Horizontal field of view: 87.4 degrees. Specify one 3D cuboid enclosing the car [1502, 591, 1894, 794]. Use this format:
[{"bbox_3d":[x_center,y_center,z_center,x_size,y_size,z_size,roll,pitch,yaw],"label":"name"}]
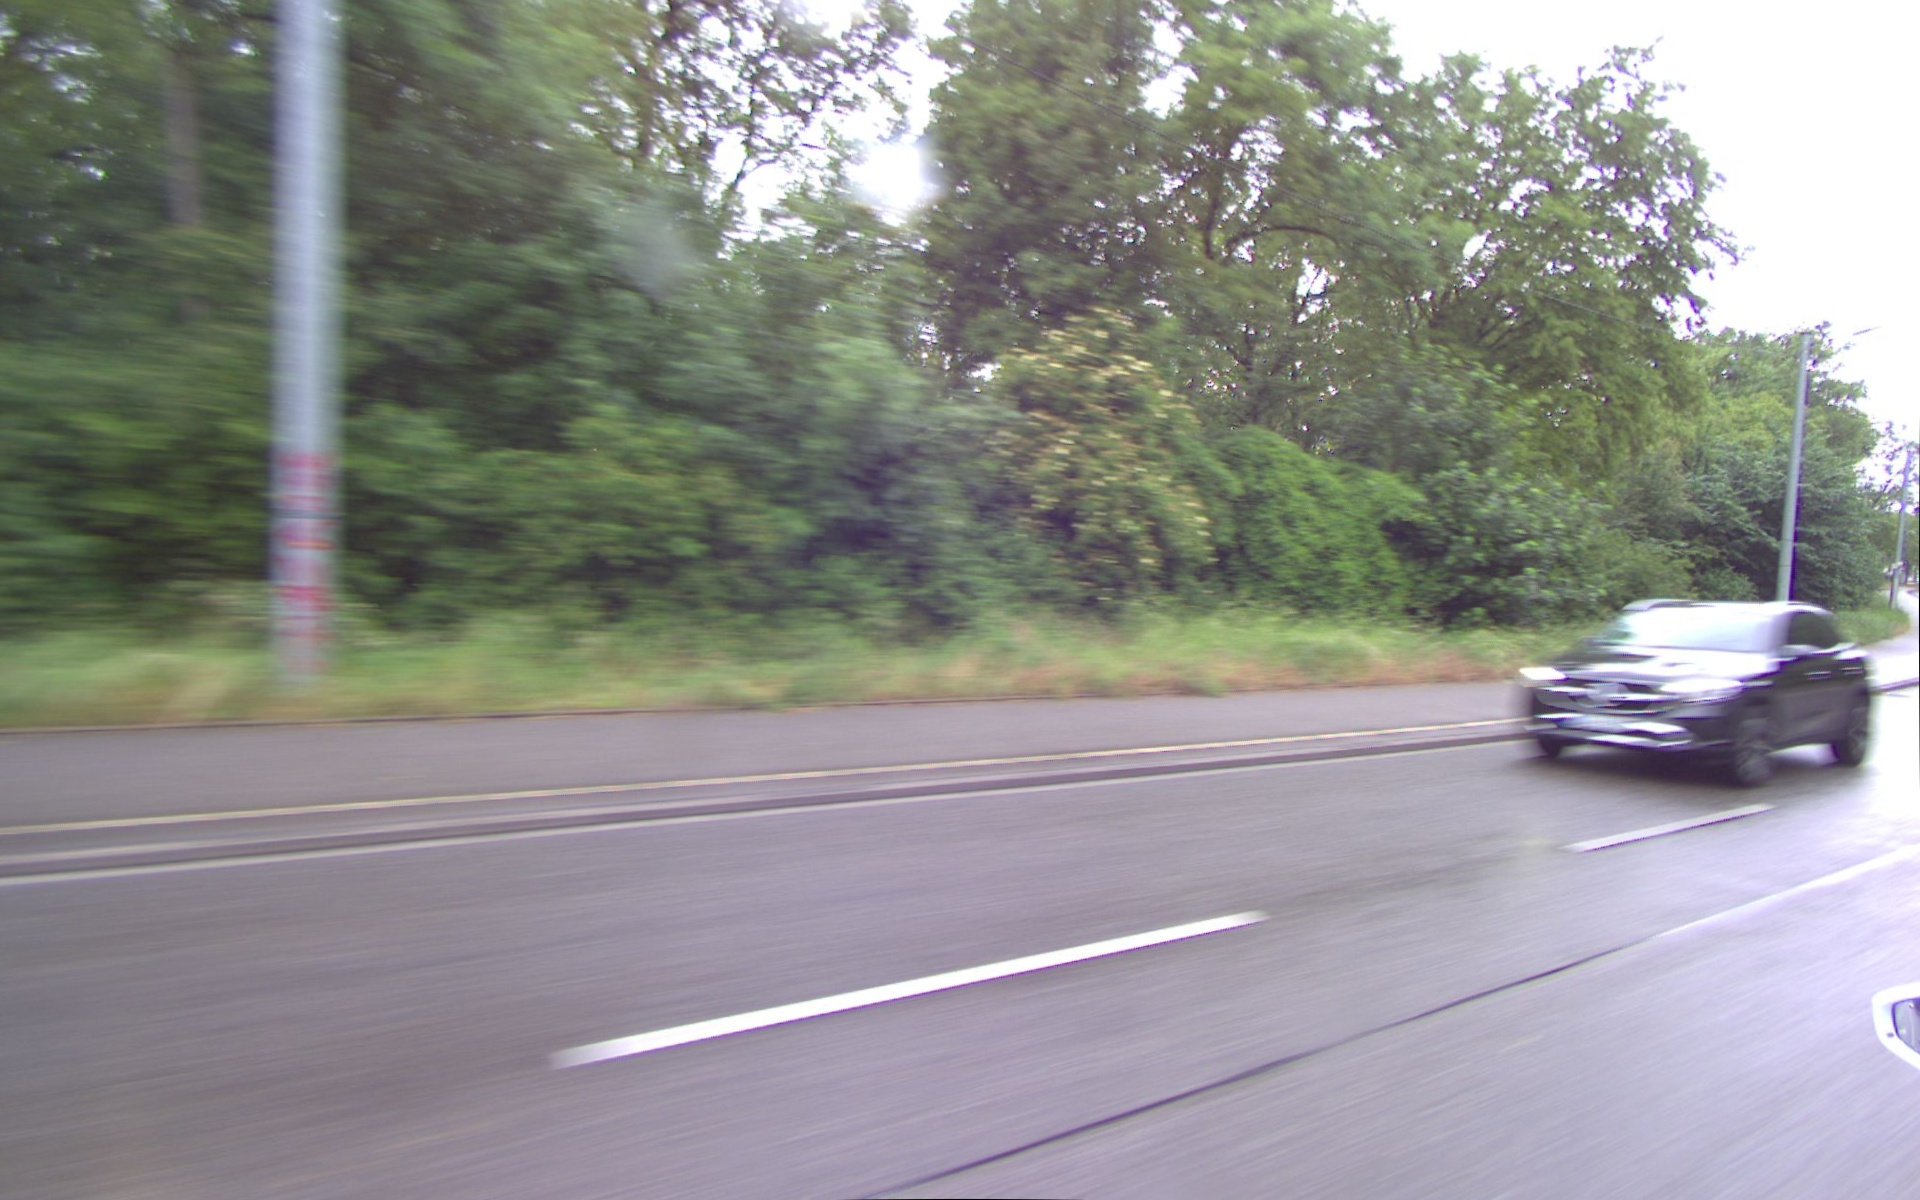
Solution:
[{"bbox_3d":[7.604,0.794,10.222,4.471,1.616,1.797,1,1,-34],"label":"car"}]
